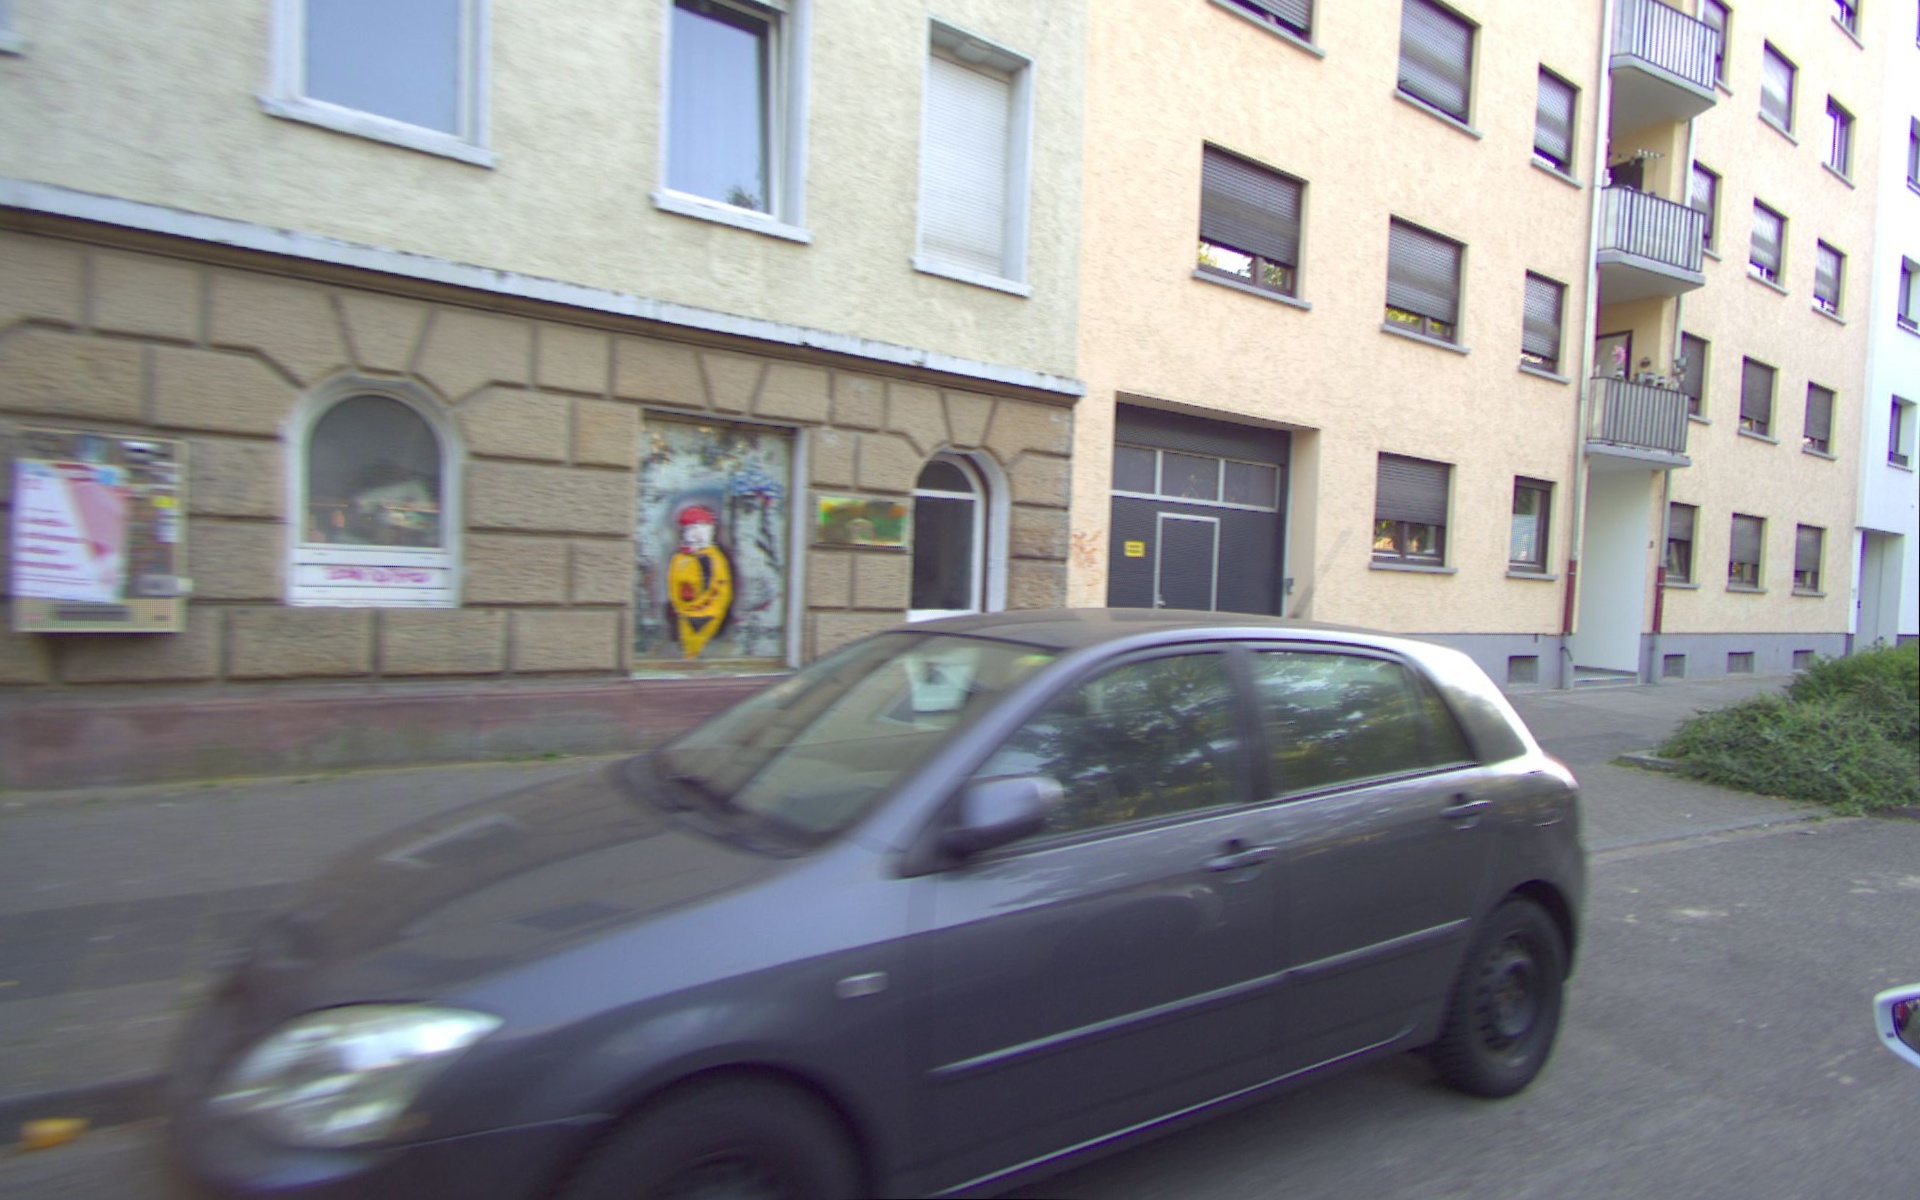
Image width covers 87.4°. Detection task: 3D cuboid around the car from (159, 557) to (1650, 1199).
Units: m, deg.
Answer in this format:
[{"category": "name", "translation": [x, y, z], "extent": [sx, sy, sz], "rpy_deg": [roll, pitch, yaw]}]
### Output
[{"category": "car", "translation": [0.228, 0.744, 3.043], "extent": [3.955, 1.486, 1.628], "rpy_deg": [2, -1, -32]}]
